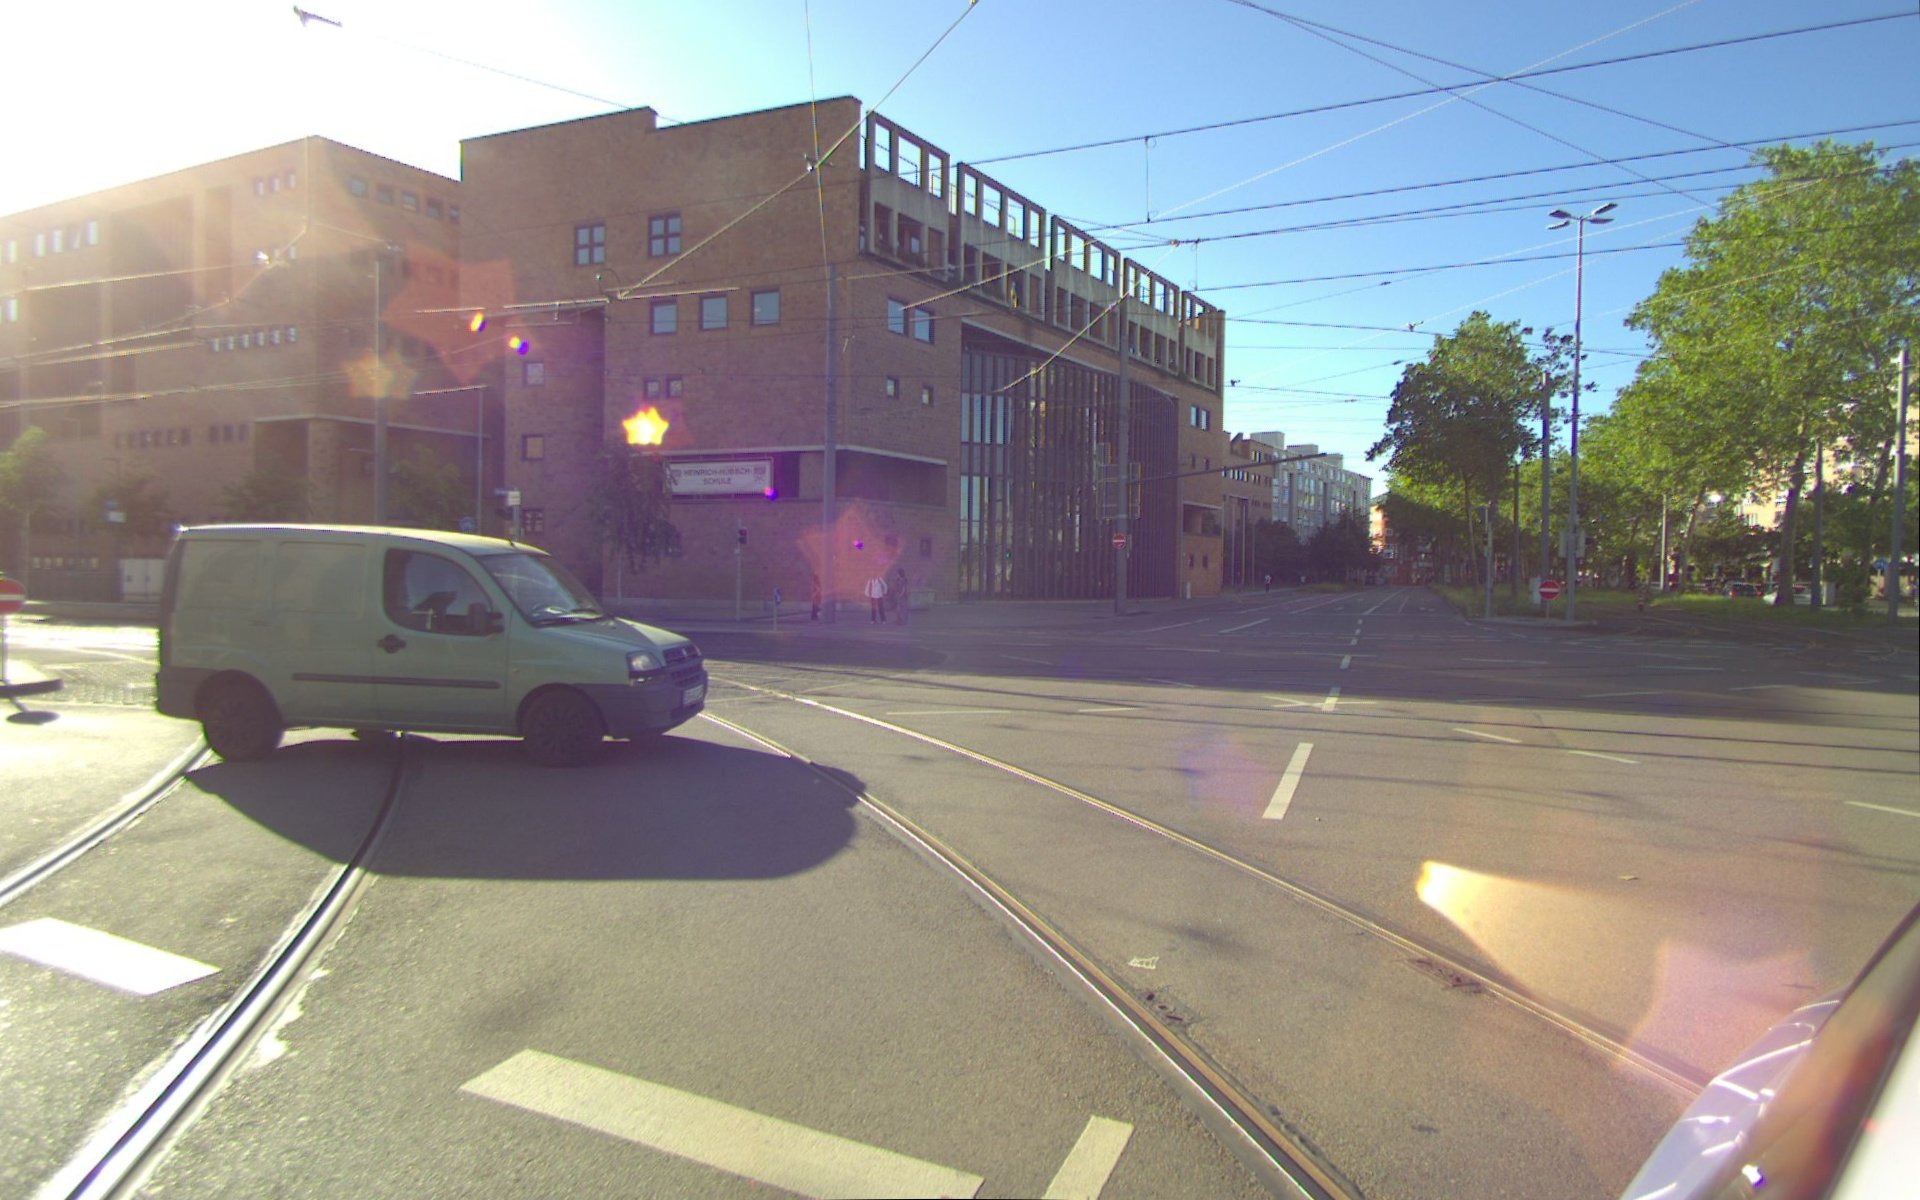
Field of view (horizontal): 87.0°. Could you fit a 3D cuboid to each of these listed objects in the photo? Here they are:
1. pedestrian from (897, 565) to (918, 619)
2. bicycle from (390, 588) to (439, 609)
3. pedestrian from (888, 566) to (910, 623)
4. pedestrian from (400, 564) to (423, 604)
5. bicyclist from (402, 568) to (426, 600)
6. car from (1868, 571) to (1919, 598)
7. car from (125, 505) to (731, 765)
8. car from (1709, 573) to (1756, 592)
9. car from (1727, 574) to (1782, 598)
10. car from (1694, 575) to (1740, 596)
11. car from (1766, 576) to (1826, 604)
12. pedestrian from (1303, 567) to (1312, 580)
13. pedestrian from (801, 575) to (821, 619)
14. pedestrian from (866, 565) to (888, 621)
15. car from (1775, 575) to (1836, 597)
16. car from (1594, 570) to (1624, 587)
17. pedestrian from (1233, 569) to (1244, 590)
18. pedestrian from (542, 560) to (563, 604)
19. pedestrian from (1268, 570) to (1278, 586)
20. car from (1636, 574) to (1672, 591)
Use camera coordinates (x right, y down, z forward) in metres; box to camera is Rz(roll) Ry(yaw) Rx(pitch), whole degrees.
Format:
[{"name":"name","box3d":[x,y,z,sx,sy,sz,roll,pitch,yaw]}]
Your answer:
[{"name":"pedestrian","box3d":[-1.752,-0.269,33.963,0.541,1.808,0.570,0,1,16]},{"name":"bicycle","box3d":[-23.692,-0.065,43.967,2.321,0.915,0.645,0,1,26]},{"name":"pedestrian","box3d":[-1.976,-0.185,32.854,0.541,1.808,0.570,0,1,16]},{"name":"pedestrian","box3d":[-24.858,-0.725,45.887,0.682,1.808,0.636,0,2,27]},{"name":"bicyclist","box3d":[-23.741,-0.689,43.983,0.646,1.356,0.642,0,1,25]},{"name":"car","box3d":[53.759,-0.907,57.462,1.843,1.493,3.954,0,1,19]},{"name":"car","box3d":[-4.154,0.233,8.368,4.033,1.858,1.844,-1,3,4]},{"name":"car","box3d":[63.810,-1.456,83.656,1.843,1.493,3.954,0,1,19]},{"name":"car","box3d":[50.892,-0.907,64.924,1.847,1.493,3.945,0,1,24]},{"name":"car","box3d":[55.225,-1.063,73.911,1.681,1.458,3.989,0,0,22]},{"name":"car","box3d":[44.884,-0.563,54.397,1.650,1.406,3.505,2,2,26]},{"name":"pedestrian","box3d":[37.260,-2.809,108.444,0.804,1.401,0.681,1,1,26]},{"name":"pedestrian","box3d":[-5.210,-0.107,35.350,0.563,1.495,0.548,1,1,6]},{"name":"pedestrian","box3d":[-2.702,-0.249,33.025,0.541,1.808,0.570,0,1,16]},{"name":"car","box3d":[56.874,-0.963,68.158,1.843,1.493,3.954,0,1,19]},{"name":"car","box3d":[72.330,-2.361,112.882,1.800,1.791,4.288,0,0,19]},{"name":"pedestrian","box3d":[21.525,-1.582,78.176,0.800,1.626,0.685,0,1,12]},{"name":"pedestrian","box3d":[-16.971,-0.742,42.154,0.568,1.808,0.544,3,2,27]},{"name":"pedestrian","box3d":[27.963,-1.999,90.384,0.804,1.401,0.681,1,1,26]},{"name":"car","box3d":[60.510,-1.528,88.293,1.680,1.493,3.954,0,1,21]}]
